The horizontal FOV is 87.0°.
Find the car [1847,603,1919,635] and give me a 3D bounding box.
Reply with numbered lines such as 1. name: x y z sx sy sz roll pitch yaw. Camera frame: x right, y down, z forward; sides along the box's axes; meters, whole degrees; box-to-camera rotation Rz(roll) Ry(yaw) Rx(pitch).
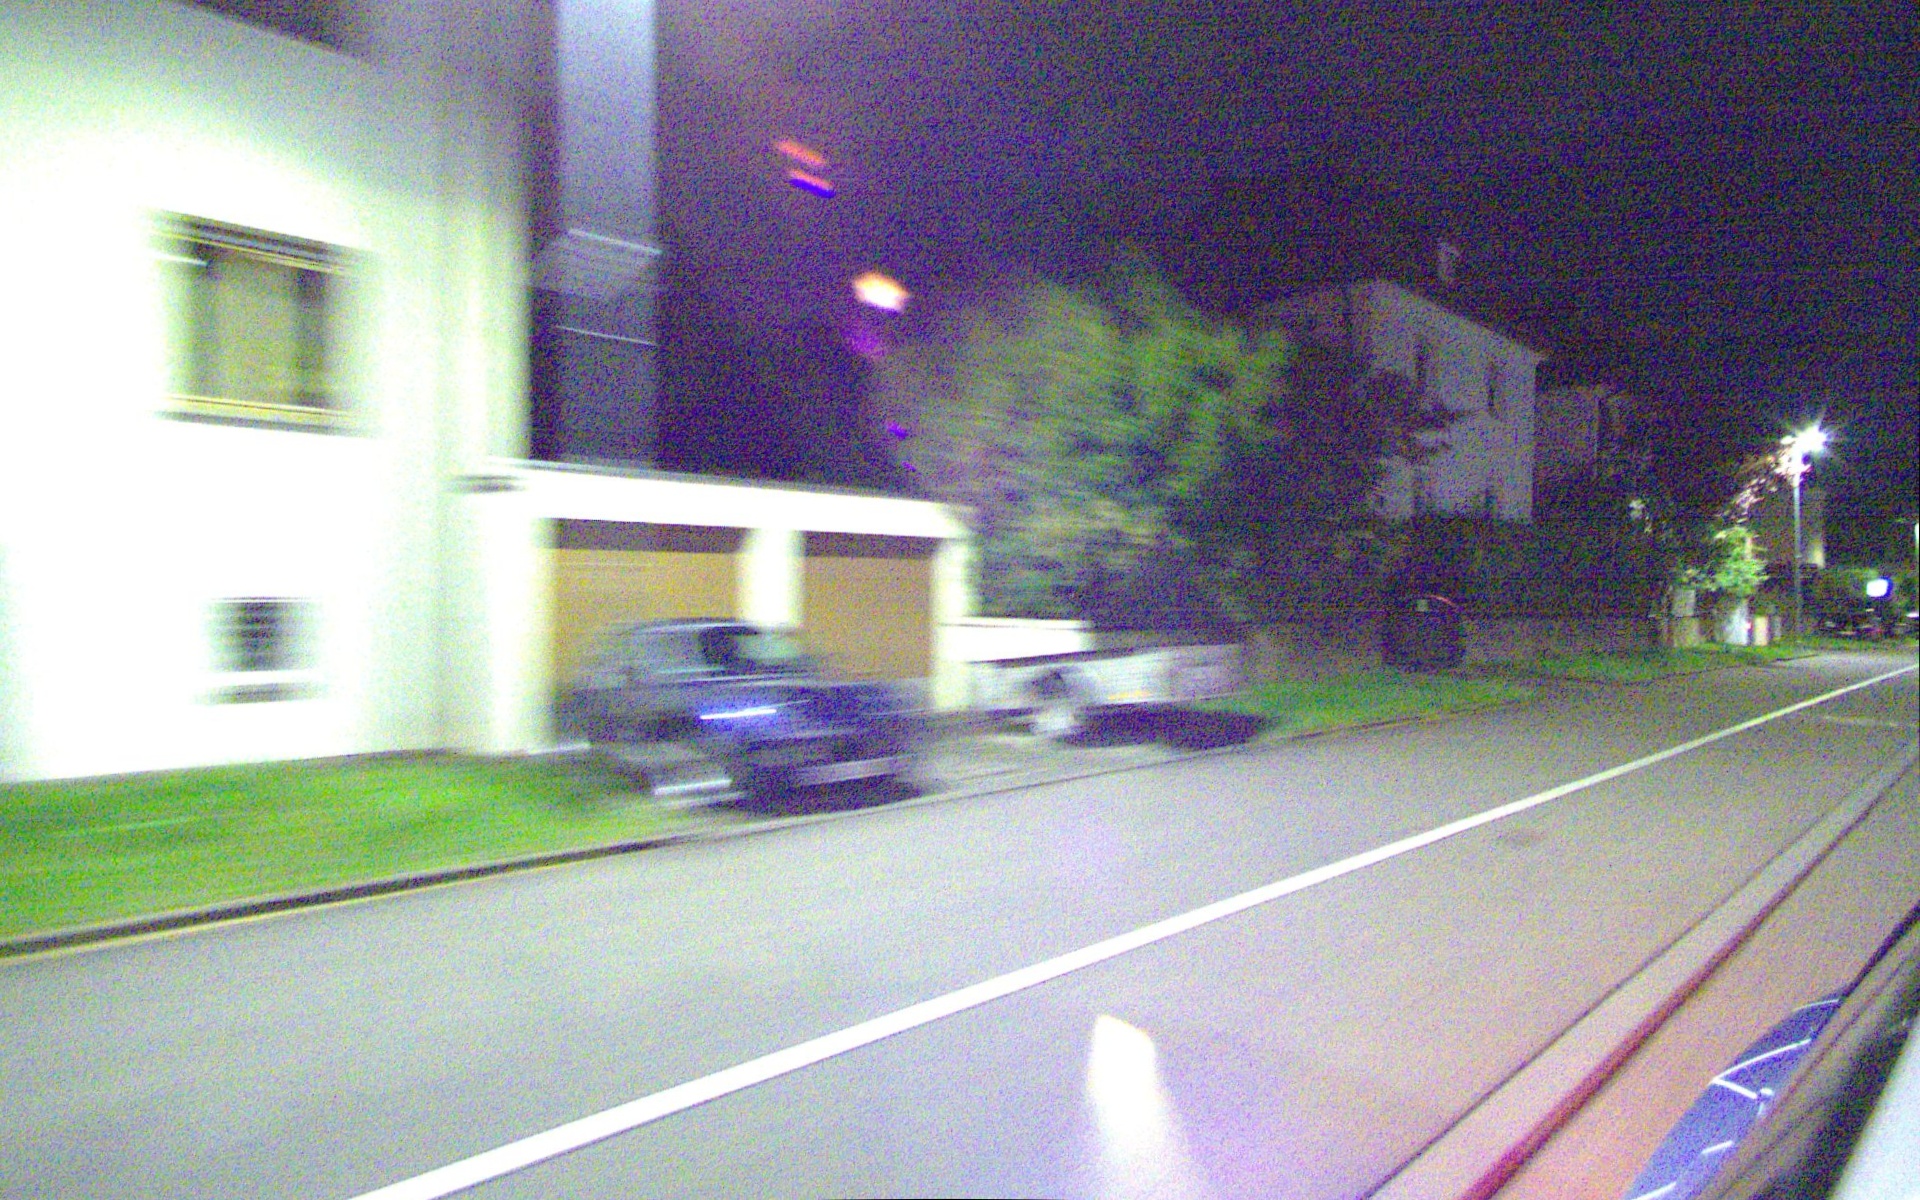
1. car: 48.895 1.001 52.619 1.800 1.504 3.912 1 2 -41

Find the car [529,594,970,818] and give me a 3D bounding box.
1. car: -1.702 0.655 7.473 1.695 1.248 3.394 1 -3 -43

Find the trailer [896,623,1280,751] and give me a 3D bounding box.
1. trailer: 1.159 0.778 10.200 1.920 1.015 3.436 0 -2 -41

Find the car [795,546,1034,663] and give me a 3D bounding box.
1. car: -0.803 0.077 19.843 4.428 2.039 1.996 0 0 -42

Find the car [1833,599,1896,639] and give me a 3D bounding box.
1. car: 39.016 0.794 43.630 3.615 1.579 1.642 1 1 -42
